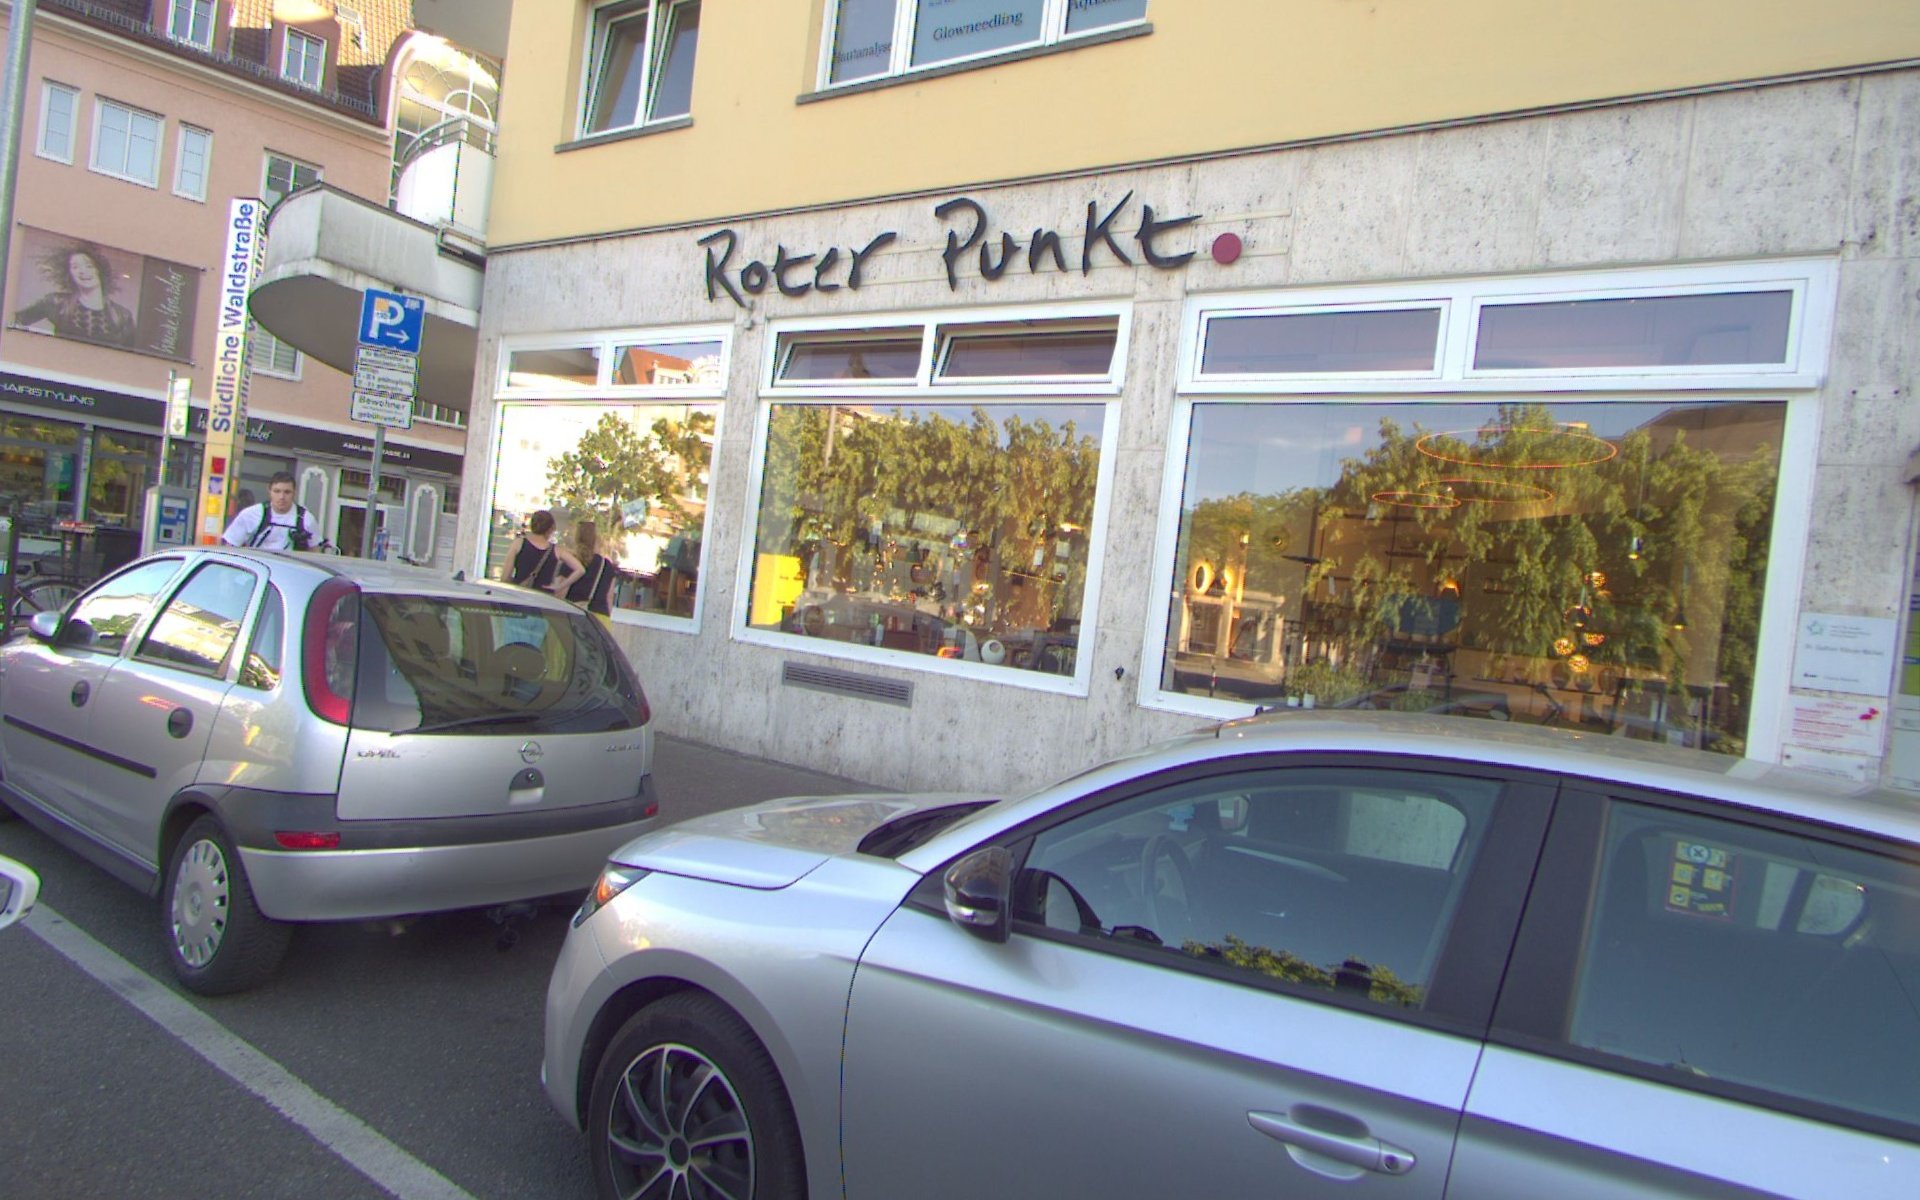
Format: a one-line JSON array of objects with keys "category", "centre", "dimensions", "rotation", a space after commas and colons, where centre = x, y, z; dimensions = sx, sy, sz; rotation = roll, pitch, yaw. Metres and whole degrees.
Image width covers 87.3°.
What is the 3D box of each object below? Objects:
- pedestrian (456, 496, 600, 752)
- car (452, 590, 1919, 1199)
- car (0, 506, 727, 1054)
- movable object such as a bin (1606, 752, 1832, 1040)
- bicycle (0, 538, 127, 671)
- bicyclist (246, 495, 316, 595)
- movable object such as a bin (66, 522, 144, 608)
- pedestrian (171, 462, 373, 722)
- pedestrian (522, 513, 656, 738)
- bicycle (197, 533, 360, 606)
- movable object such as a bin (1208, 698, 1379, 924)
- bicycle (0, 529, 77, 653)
[{"category": "pedestrian", "centre": [-3.400, 0.165, 7.895], "dimensions": [0.678, 1.874, 0.883], "rotation": [3, 3, -43]}, {"category": "car", "centre": [0.783, 0.946, 2.281], "dimensions": [3.624, 1.453, 1.587], "rotation": [6, -2, 30]}, {"category": "car", "centre": [-2.954, 0.487, 4.460], "dimensions": [3.520, 1.442, 1.587], "rotation": [6, -2, 32]}, {"category": "movable object such as a bin", "centre": [3.376, 1.269, 4.546], "dimensions": [0.639, 1.035, 0.738], "rotation": [6, -1, 31]}, {"category": "bicycle", "centre": [-8.162, 0.006, 8.252], "dimensions": [0.642, 1.057, 1.884], "rotation": [7, 0, 33]}, {"category": "bicyclist", "centre": [-12.759, -1.029, 18.901], "dimensions": [0.671, 1.778, 0.862], "rotation": [6, 2, 40]}, {"category": "movable object such as a bin", "centre": [-11.954, -0.486, 14.063], "dimensions": [0.716, 1.117, 0.636], "rotation": [7, 2, 35]}, {"category": "pedestrian", "centre": [-5.284, -0.056, 7.733], "dimensions": [0.967, 1.844, 0.809], "rotation": [6, -1, 35]}, {"category": "pedestrian", "centre": [-3.121, 0.205, 8.444], "dimensions": [0.718, 1.777, 0.779], "rotation": [4, 2, -40]}, {"category": "bicycle", "centre": [-12.780, -0.543, 18.952], "dimensions": [0.702, 1.166, 2.387], "rotation": [6, 1, 38]}, {"category": "movable object such as a bin", "centre": [1.828, 1.100, 5.476], "dimensions": [0.639, 1.035, 0.738], "rotation": [6, -1, 31]}, {"category": "bicycle", "centre": [-9.053, -0.148, 8.796], "dimensions": [0.642, 1.072, 1.816], "rotation": [7, -1, 33]}]
